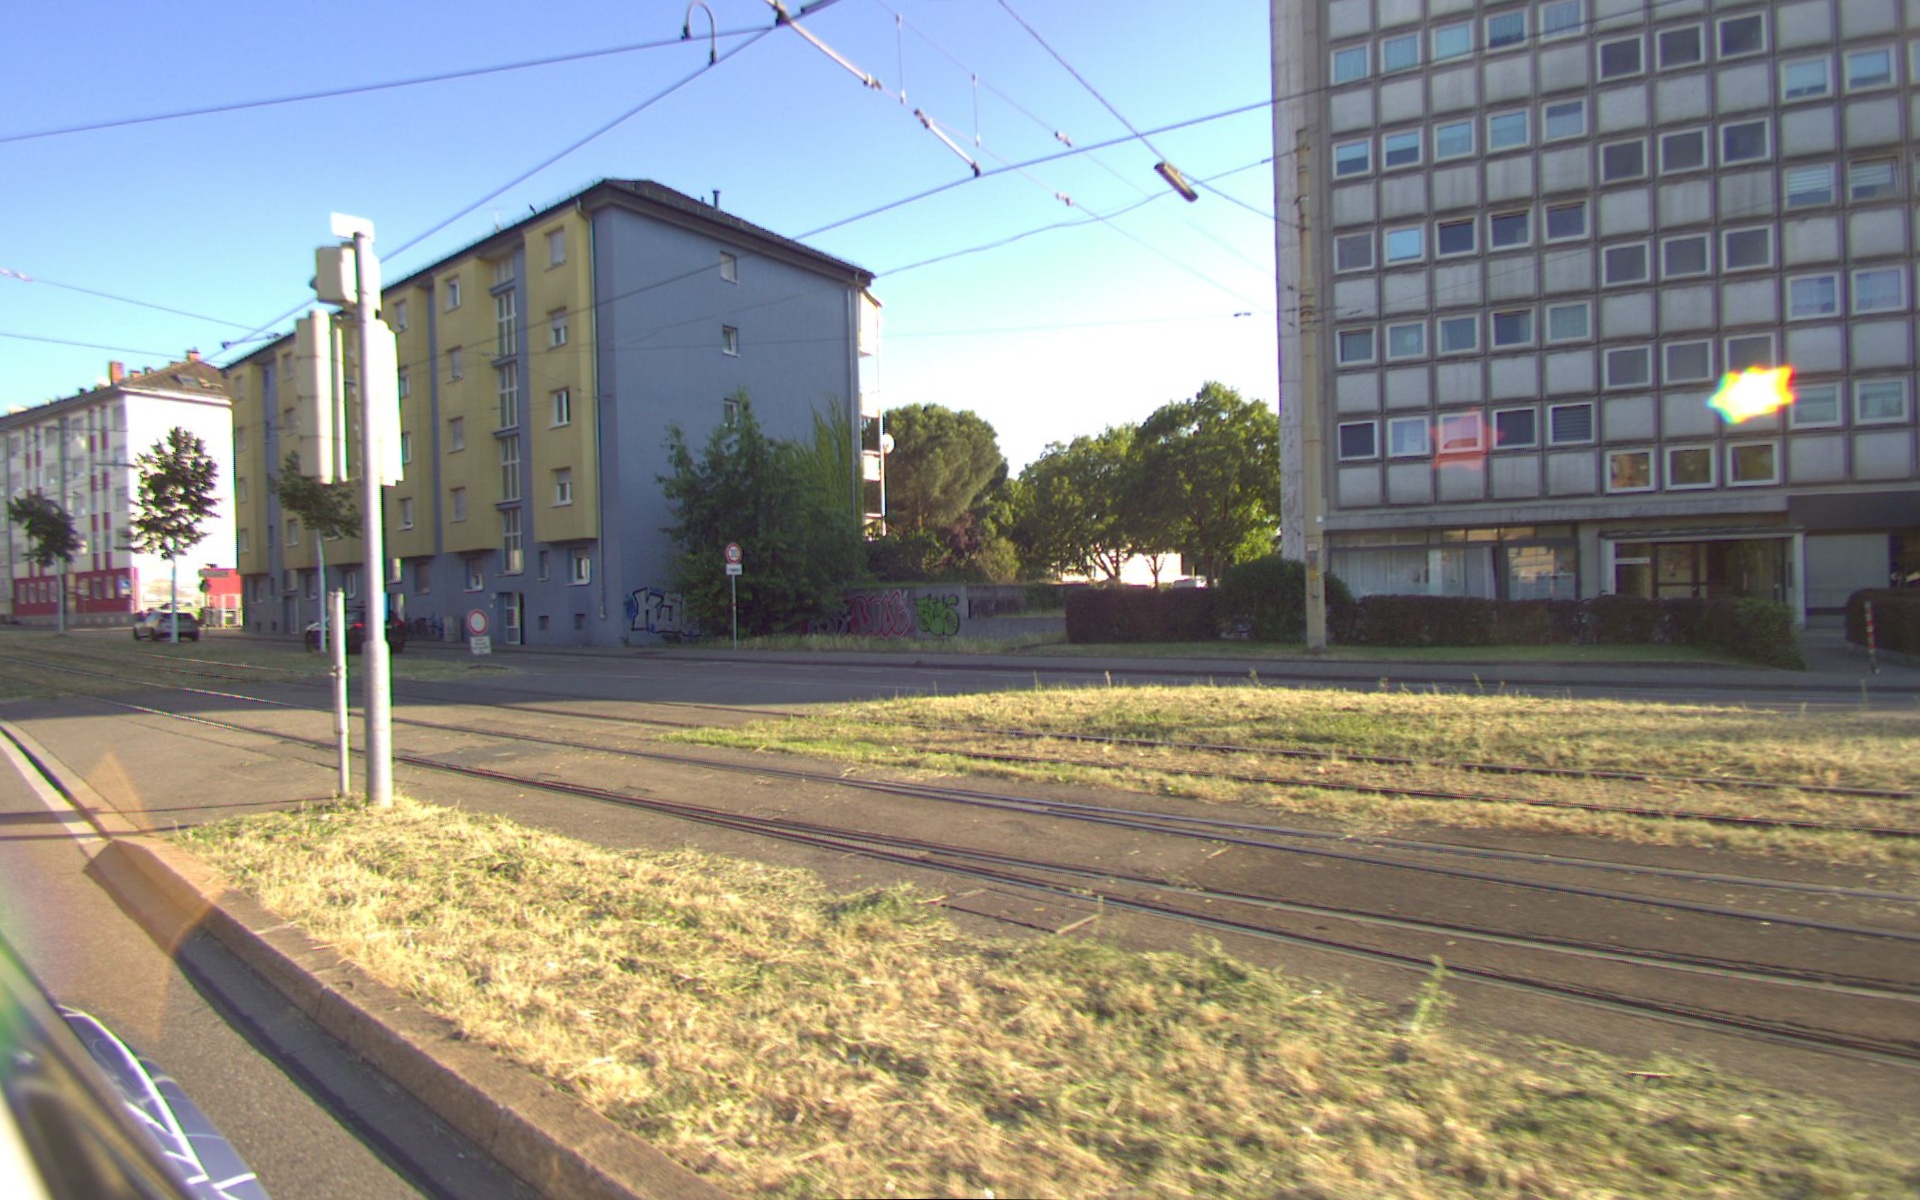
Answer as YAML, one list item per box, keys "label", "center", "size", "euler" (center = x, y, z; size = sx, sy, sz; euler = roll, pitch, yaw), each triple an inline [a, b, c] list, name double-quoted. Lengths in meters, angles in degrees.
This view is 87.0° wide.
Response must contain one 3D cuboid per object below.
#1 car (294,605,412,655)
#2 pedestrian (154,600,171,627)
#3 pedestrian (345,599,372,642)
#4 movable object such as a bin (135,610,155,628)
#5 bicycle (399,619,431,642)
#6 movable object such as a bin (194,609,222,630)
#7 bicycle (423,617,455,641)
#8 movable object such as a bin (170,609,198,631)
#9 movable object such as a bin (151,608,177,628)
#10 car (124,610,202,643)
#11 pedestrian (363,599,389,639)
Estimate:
- label: "car"
  center: [-21.727, 1.061, 36.150]
  size: [4.698, 1.674, 1.901]
  euler: [-2, -1, 35]
- label: "pedestrian"
  center: [-51.122, 0.877, 64.862]
  size: [0.789, 1.702, 0.609]
  euler: [-1, 0, 31]
- label: "pedestrian"
  center: [-26.282, 0.902, 44.198]
  size: [0.884, 1.786, 0.588]
  euler: [-1, 4, 36]
- label: "movable object such as a bin"
  center: [-55.179, 1.286, 68.509]
  size: [0.803, 1.235, 0.859]
  euler: [-1, 0, 32]
- label: "bicycle"
  center: [-23.393, 1.314, 43.439]
  size: [1.909, 0.932, 0.423]
  euler: [-1, 4, 38]
- label: "movable object such as a bin"
  center: [-52.170, 1.351, 70.221]
  size: [1.104, 1.426, 1.207]
  euler: [-1, 0, 32]
- label: "bicycle"
  center: [-21.811, 1.219, 42.327]
  size: [1.909, 0.967, 0.423]
  euler: [-1, 0, 38]
- label: "movable object such as a bin"
  center: [-52.912, 1.361, 69.008]
  size: [1.135, 1.426, 1.207]
  euler: [-1, 0, 32]
- label: "movable object such as a bin"
  center: [-54.645, 1.245, 69.475]
  size: [0.803, 1.296, 1.149]
  euler: [-1, 0, 32]
- label: "car"
  center: [-37.873, 1.235, 48.051]
  size: [4.305, 1.471, 1.683]
  euler: [0, -1, 34]
- label: "pedestrian"
  center: [-25.987, 0.854, 45.029]
  size: [0.705, 1.706, 0.611]
  euler: [-1, 4, 36]
